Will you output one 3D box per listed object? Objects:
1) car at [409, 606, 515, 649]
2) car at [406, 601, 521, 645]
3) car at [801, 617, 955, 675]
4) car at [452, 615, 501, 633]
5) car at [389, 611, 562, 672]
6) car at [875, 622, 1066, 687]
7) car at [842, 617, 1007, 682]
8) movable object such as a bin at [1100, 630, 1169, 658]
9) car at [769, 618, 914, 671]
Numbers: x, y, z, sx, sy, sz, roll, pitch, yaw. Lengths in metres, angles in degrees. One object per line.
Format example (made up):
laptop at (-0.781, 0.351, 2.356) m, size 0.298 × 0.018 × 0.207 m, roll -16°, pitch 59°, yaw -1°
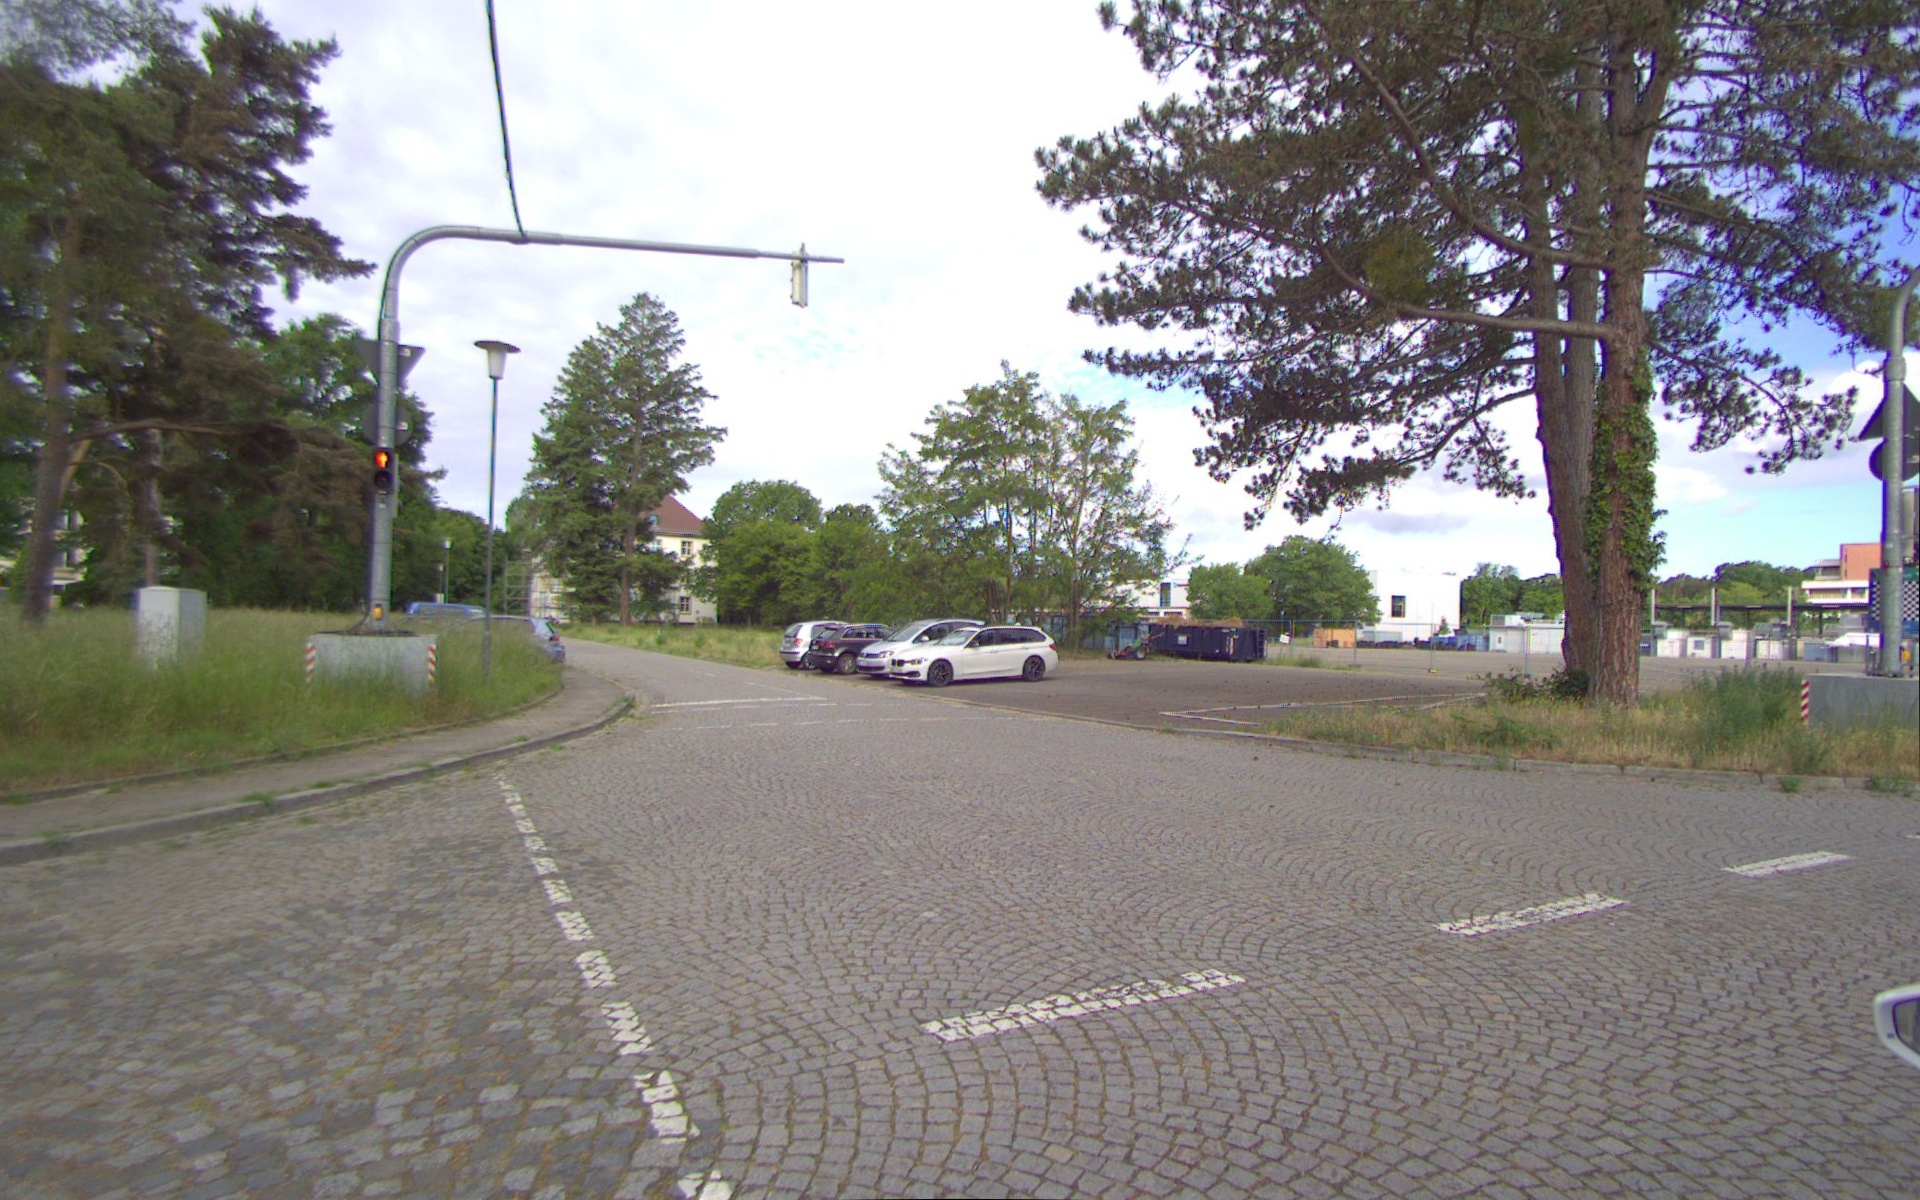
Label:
car at (-21.135, 1.180, 42.716) m, size 3.948 × 1.737 × 1.679 m, roll 1°, pitch -1°, yaw -27°
car at (-23.404, 1.111, 47.429) m, size 4.735 × 2.007 × 1.983 m, roll 1°, pitch -1°, yaw -29°
car at (-2.429, 1.332, 30.210) m, size 4.278 × 1.522 × 1.844 m, roll -1°, pitch 0°, yaw -32°
car at (-58.103, 2.924, 120.682) m, size 5.101 × 2.040 × 1.985 m, roll 2°, pitch -2°, yaw -29°
car at (-12.702, 1.090, 26.423) m, size 3.953 × 1.492 × 1.677 m, roll 2°, pitch -2°, yaw -30°
car at (0.320, 1.333, 25.740) m, size 4.687 × 1.461 × 1.800 m, roll 0°, pitch 0°, yaw -32°
car at (-0.968, 1.315, 27.976) m, size 4.278 × 1.605 × 1.811 m, roll -1°, pitch 0°, yaw -32°
movable object such as a bin at (6.903, 1.751, 39.672) m, size 2.631 × 1.061 × 1.170 m, roll 2°, pitch -2°, yaw -34°
car at (-3.803, 1.432, 32.500) m, size 4.279 × 1.587 × 1.783 m, roll 2°, pitch -1°, yaw -32°
